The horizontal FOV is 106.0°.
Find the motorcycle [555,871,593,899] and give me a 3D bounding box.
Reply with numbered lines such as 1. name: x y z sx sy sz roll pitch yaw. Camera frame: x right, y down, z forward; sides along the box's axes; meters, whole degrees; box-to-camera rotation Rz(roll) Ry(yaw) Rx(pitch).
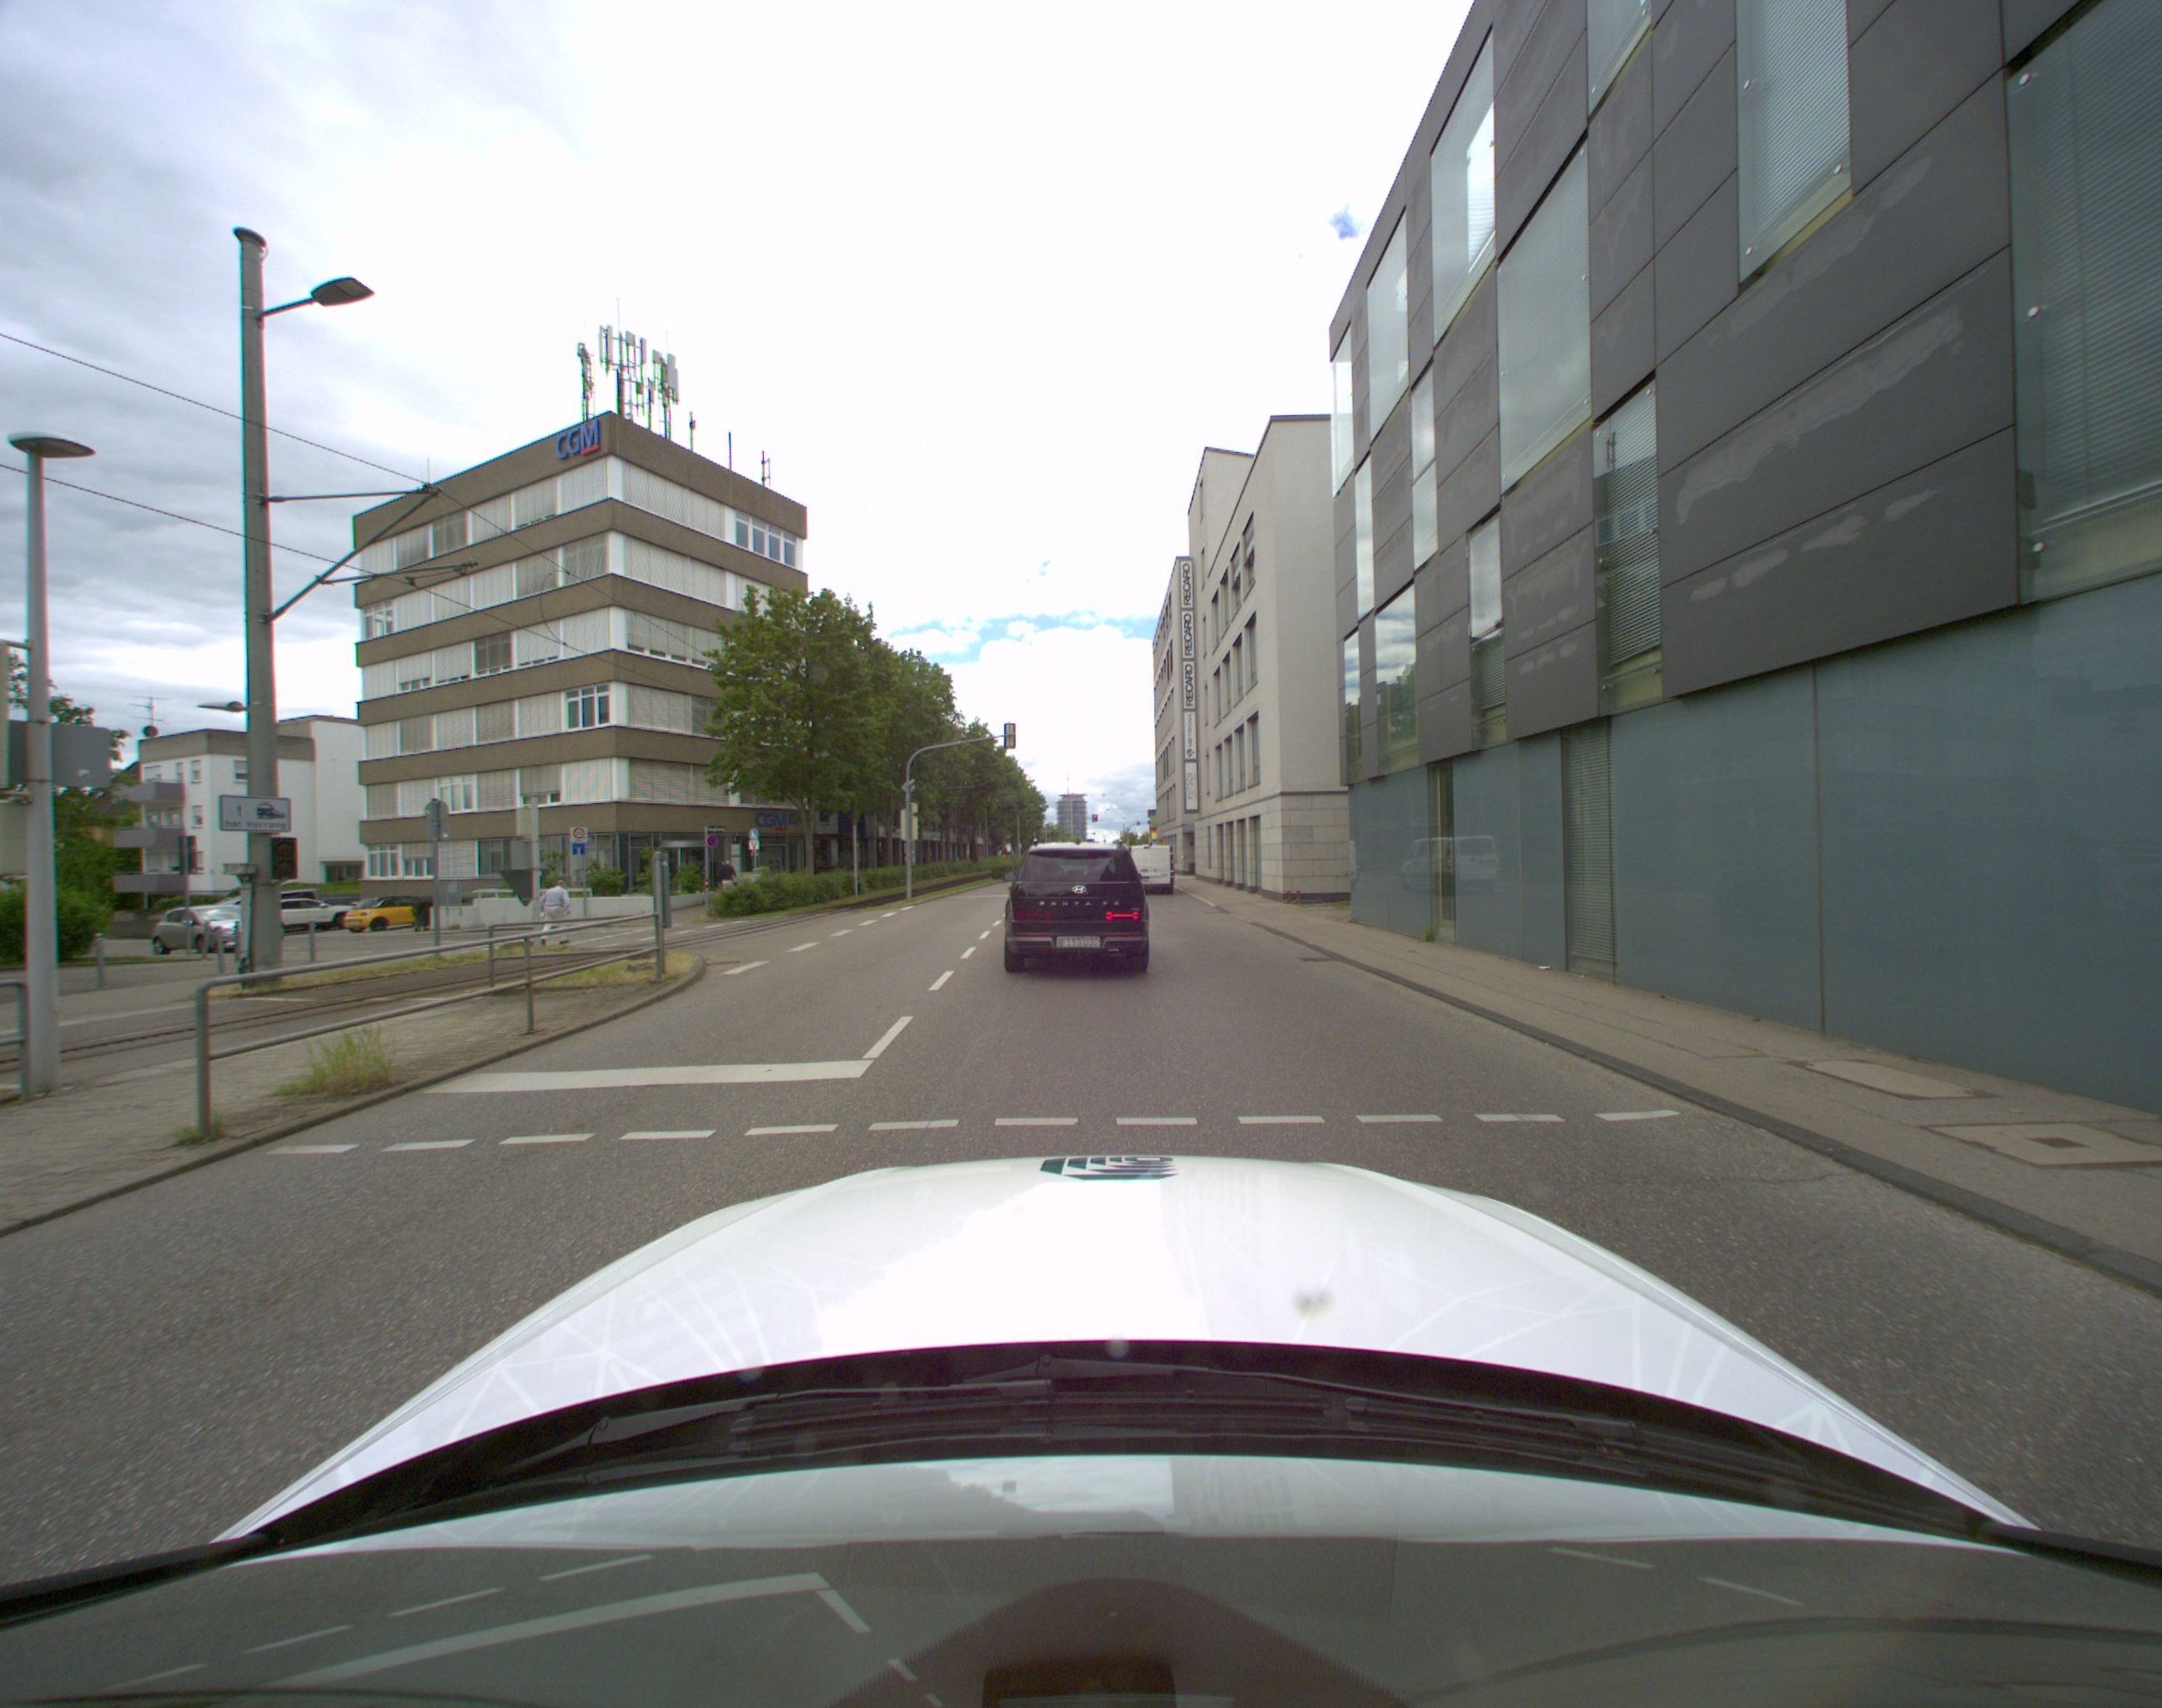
1. motorcycle: -22.409 1.363 35.980 1.861 1.199 0.571 -2 -1 28

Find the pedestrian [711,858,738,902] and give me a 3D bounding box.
1. pedestrian: -14.031 1.021 32.079 0.685 1.705 0.683 -2 -1 2

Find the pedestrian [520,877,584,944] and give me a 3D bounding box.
1. pedestrian: -12.758 1.334 19.657 0.845 1.526 0.995 -2 -1 0

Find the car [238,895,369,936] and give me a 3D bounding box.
1. car: -36.739 2.885 38.608 1.833 1.574 4.021 -3 -1 22

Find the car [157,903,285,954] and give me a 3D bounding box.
1. car: -26.246 2.274 24.845 3.949 1.359 1.652 -3 -1 28

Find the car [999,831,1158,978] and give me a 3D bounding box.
1. car: -0.140 0.615 11.990 1.905 1.749 4.391 0 -1 -3

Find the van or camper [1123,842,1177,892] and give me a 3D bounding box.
1. van or camper: 2.770 0.513 33.464 1.986 1.915 4.333 0 0 1

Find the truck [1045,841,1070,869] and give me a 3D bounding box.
1. truck: -2.278 0.097 80.029 2.158 2.615 5.796 -1 0 1

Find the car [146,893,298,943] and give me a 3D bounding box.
1. car: -41.738 3.055 39.750 1.833 2.068 4.712 -3 -1 22

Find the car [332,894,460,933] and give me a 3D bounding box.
1. car: -30.661 2.651 36.605 1.710 1.425 4.021 -3 -1 22

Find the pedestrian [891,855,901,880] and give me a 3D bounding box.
1. pedestrian: -15.454 1.124 67.932 0.678 2.014 0.571 -2 -1 1

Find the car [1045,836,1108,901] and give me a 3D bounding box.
1. car: -0.212 0.469 27.648 1.927 1.994 4.531 -1 0 -2
